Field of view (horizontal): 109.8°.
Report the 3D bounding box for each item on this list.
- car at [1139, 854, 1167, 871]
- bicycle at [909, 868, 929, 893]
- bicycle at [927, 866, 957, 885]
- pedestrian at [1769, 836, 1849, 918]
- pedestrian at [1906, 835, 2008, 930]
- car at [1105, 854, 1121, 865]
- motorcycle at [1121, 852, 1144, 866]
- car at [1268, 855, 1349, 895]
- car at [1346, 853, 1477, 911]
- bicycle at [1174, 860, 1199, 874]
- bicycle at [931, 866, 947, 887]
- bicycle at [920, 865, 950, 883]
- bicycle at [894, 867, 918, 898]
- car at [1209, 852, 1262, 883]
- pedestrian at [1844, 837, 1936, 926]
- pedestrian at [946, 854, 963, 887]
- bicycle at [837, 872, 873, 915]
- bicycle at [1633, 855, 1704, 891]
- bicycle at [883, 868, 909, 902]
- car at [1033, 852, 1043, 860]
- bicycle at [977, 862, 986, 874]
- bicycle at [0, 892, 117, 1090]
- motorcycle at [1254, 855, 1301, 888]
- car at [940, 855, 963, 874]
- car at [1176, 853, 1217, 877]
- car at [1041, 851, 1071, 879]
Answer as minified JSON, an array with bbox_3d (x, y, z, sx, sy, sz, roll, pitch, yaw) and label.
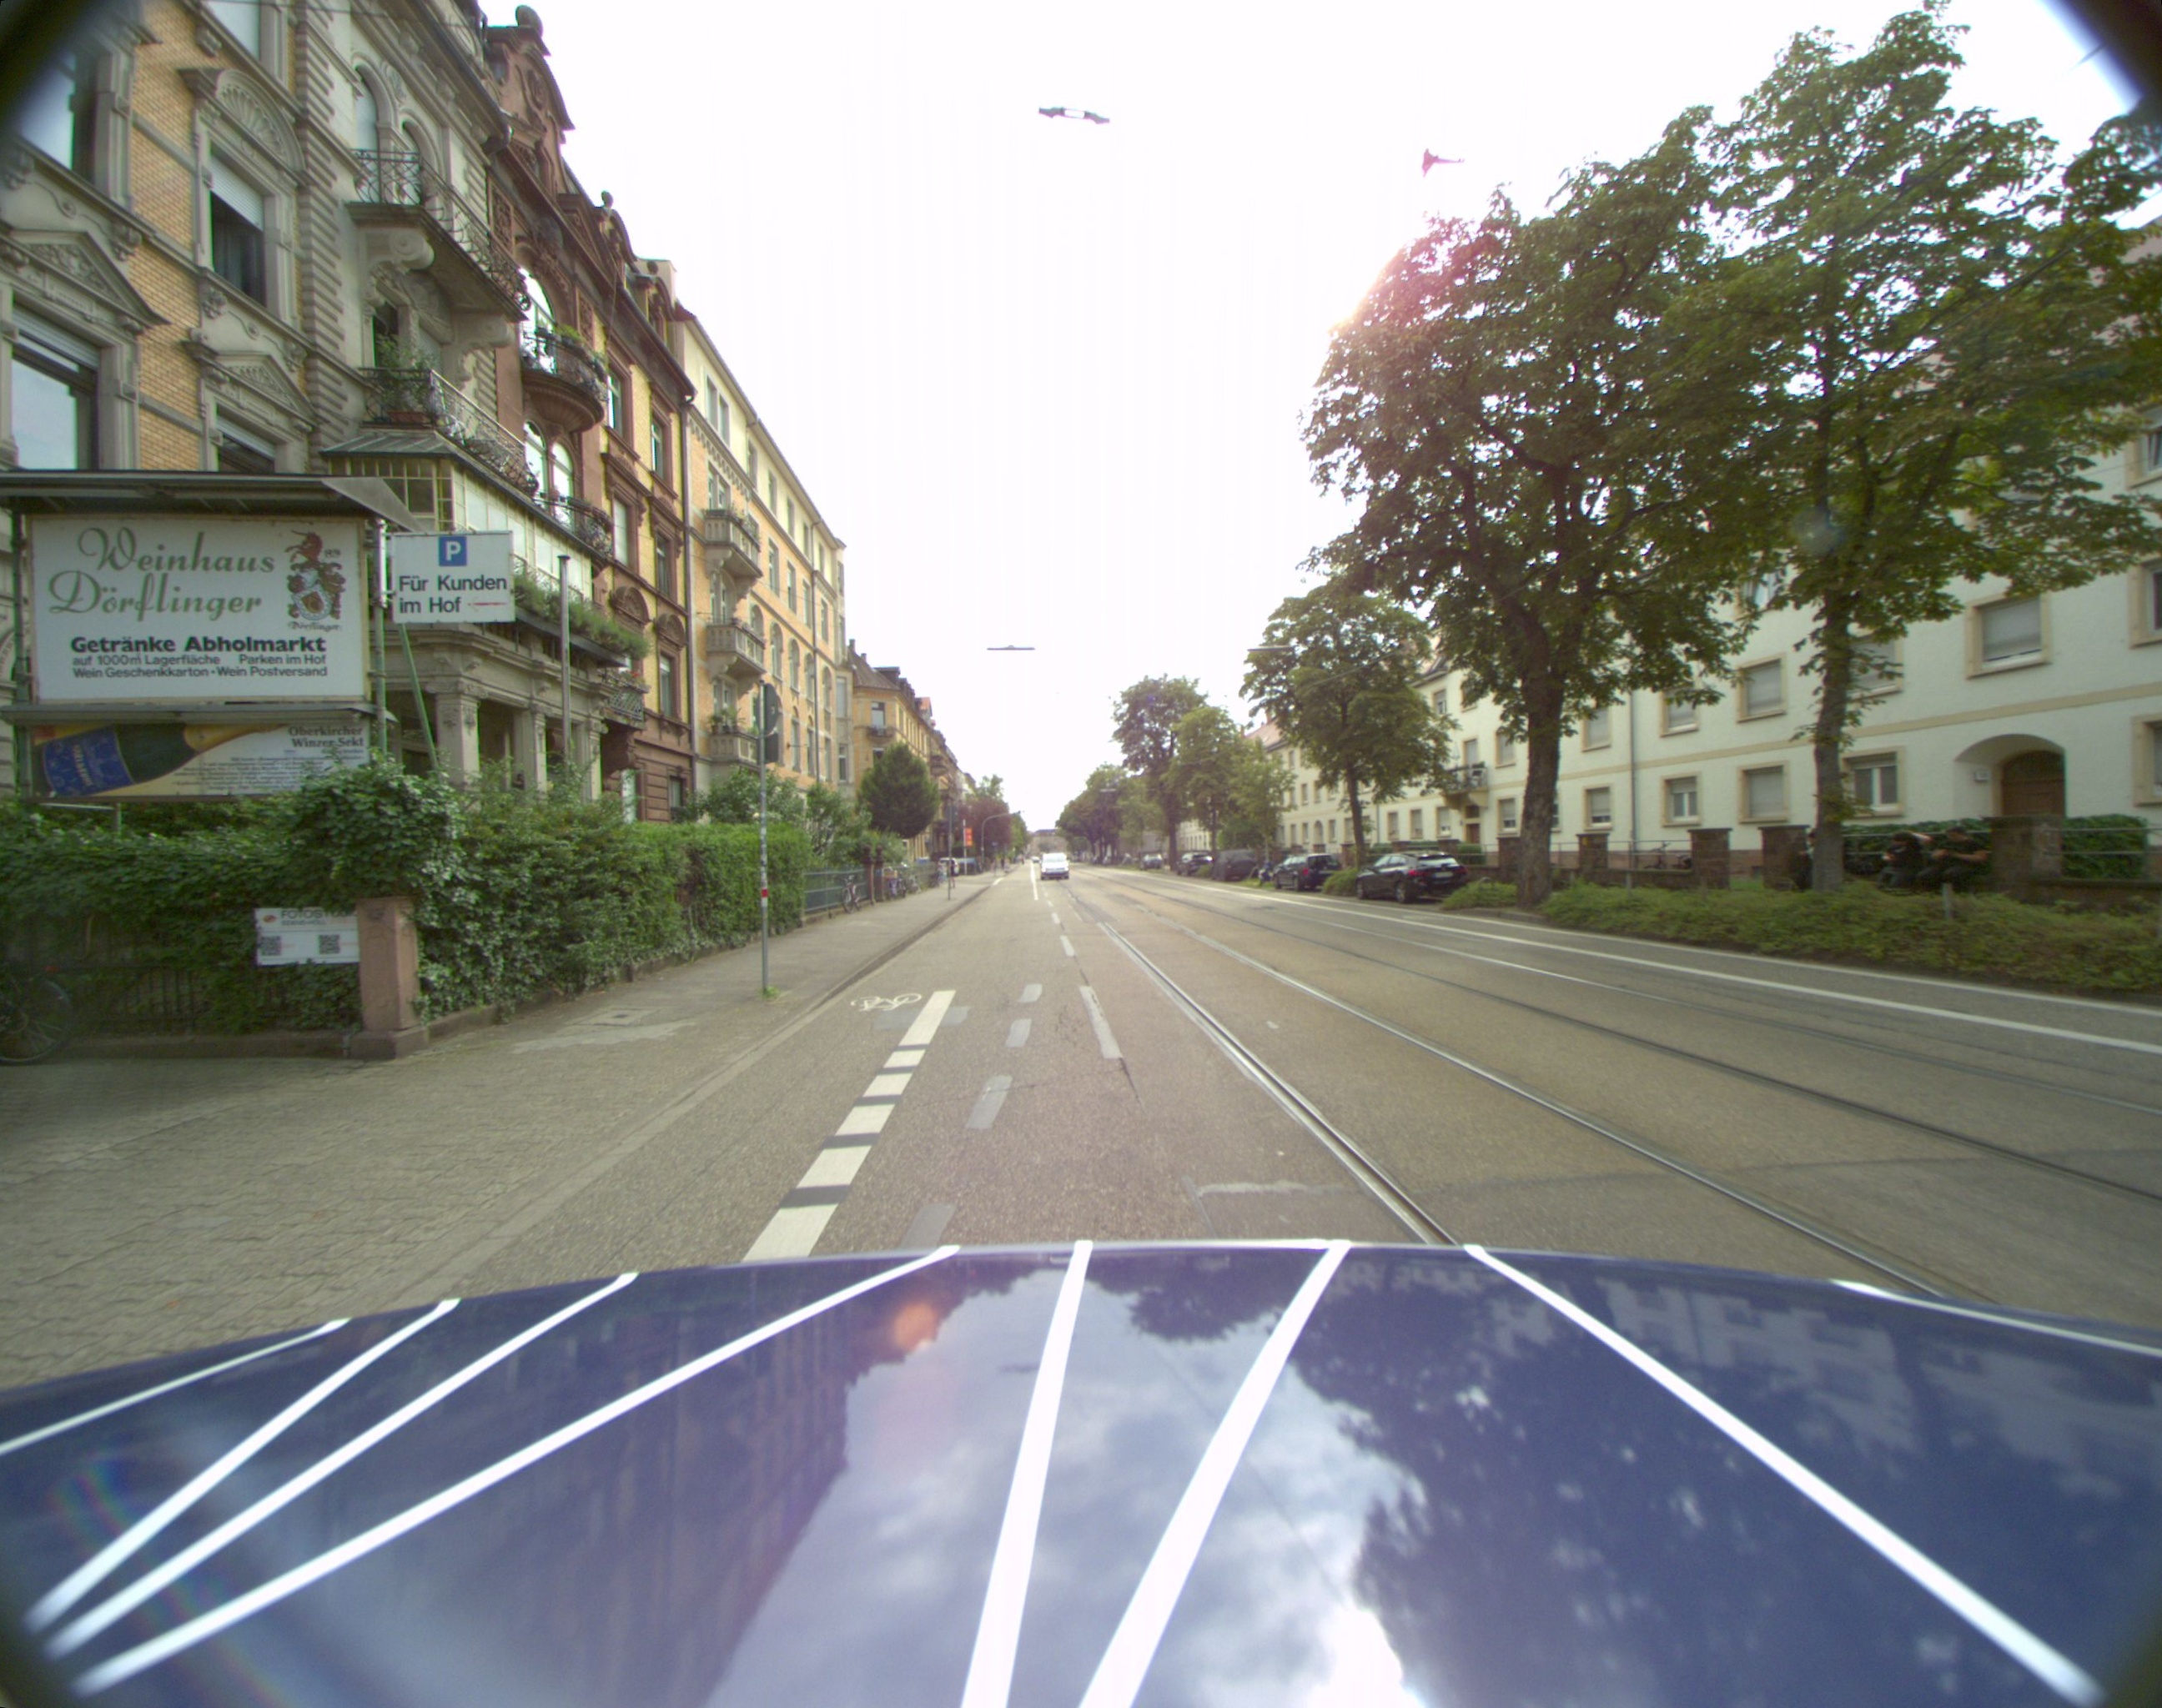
[{"bbox_3d":[6.609,0.761,70.246,1.702,1.462,4.297,-2,0,-5],"label":"car"},{"bbox_3d":[-6.858,1.110,32.239,0.580,0.977,1.671,2,0,-4],"label":"bicycle"},{"bbox_3d":[-8.668,1.330,47.531,0.629,1.106,1.878,-1,1,40],"label":"bicycle"},{"bbox_3d":[13.862,0.418,14.488,0.835,1.503,0.732,-2,1,-8],"label":"pedestrian"},{"bbox_3d":[14.093,0.447,12.238,0.835,1.456,0.732,-2,1,-8],"label":"pedestrian"},{"bbox_3d":[4.511,0.734,107.845,1.732,1.462,4.297,-2,0,-5],"label":"car"},{"bbox_3d":[5.865,0.569,85.992,2.312,1.382,0.838,-6,1,29],"label":"motorcycle"},{"bbox_3d":[9.033,0.790,30.497,1.701,1.415,4.298,-3,0,-3],"label":"car"},{"bbox_3d":[9.587,0.759,22.468,1.701,1.415,4.298,-5,0,-3],"label":"car"},{"bbox_3d":[7.731,0.973,55.832,1.672,0.965,0.672,-2,1,-12],"label":"bicycle"},{"bbox_3d":[-7.122,1.134,38.123,0.580,0.977,1.671,2,0,-4],"label":"bicycle"},{"bbox_3d":[-9.773,1.321,50.714,1.890,1.121,0.533,-1,1,13],"label":"bicycle"},{"bbox_3d":[-6.585,1.049,28.614,0.580,1.105,1.671,2,0,-4],"label":"bicycle"},{"bbox_3d":[8.437,0.695,41.924,1.790,1.602,4.298,-2,0,-3],"label":"car"},{"bbox_3d":[13.954,0.459,13.126,0.835,1.456,0.732,-2,1,-8],"label":"pedestrian"},{"bbox_3d":[-6.252,0.798,37.627,0.732,1.614,0.835,-2,1,-4],"label":"pedestrian"},{"bbox_3d":[-6.315,1.093,21.288,0.580,1.105,1.671,-2,0,-4],"label":"bicycle"},{"bbox_3d":[14.607,0.450,18.926,0.510,0.858,1.549,-1,0,-3],"label":"bicycle"},{"bbox_3d":[-6.457,1.073,26.645,0.580,1.105,1.671,2,0,-4],"label":"bicycle"},{"bbox_3d":[-10.119,0.418,178.917,1.947,1.675,4.000,-1,0,1],"label":"car"},{"bbox_3d":[-9.245,1.309,70.900,0.631,1.106,1.874,-2,0,-2],"label":"bicycle"},{"bbox_3d":[-8.651,0.973,5.282,2.631,1.304,0.770,-2,1,-6],"label":"bicycle"},{"bbox_3d":[8.878,0.775,34.353,1.872,1.253,0.591,-7,1,-7],"label":"motorcycle"},{"bbox_3d":[-11.038,0.902,64.972,1.757,1.516,3.997,-2,0,-9],"label":"car"},{"bbox_3d":[7.705,0.711,51.184,1.702,1.462,4.297,-2,0,-5],"label":"car"},{"bbox_3d":[-1.725,0.691,50.925,1.876,1.670,5.129,-2,0,-3],"label":"car"}]
